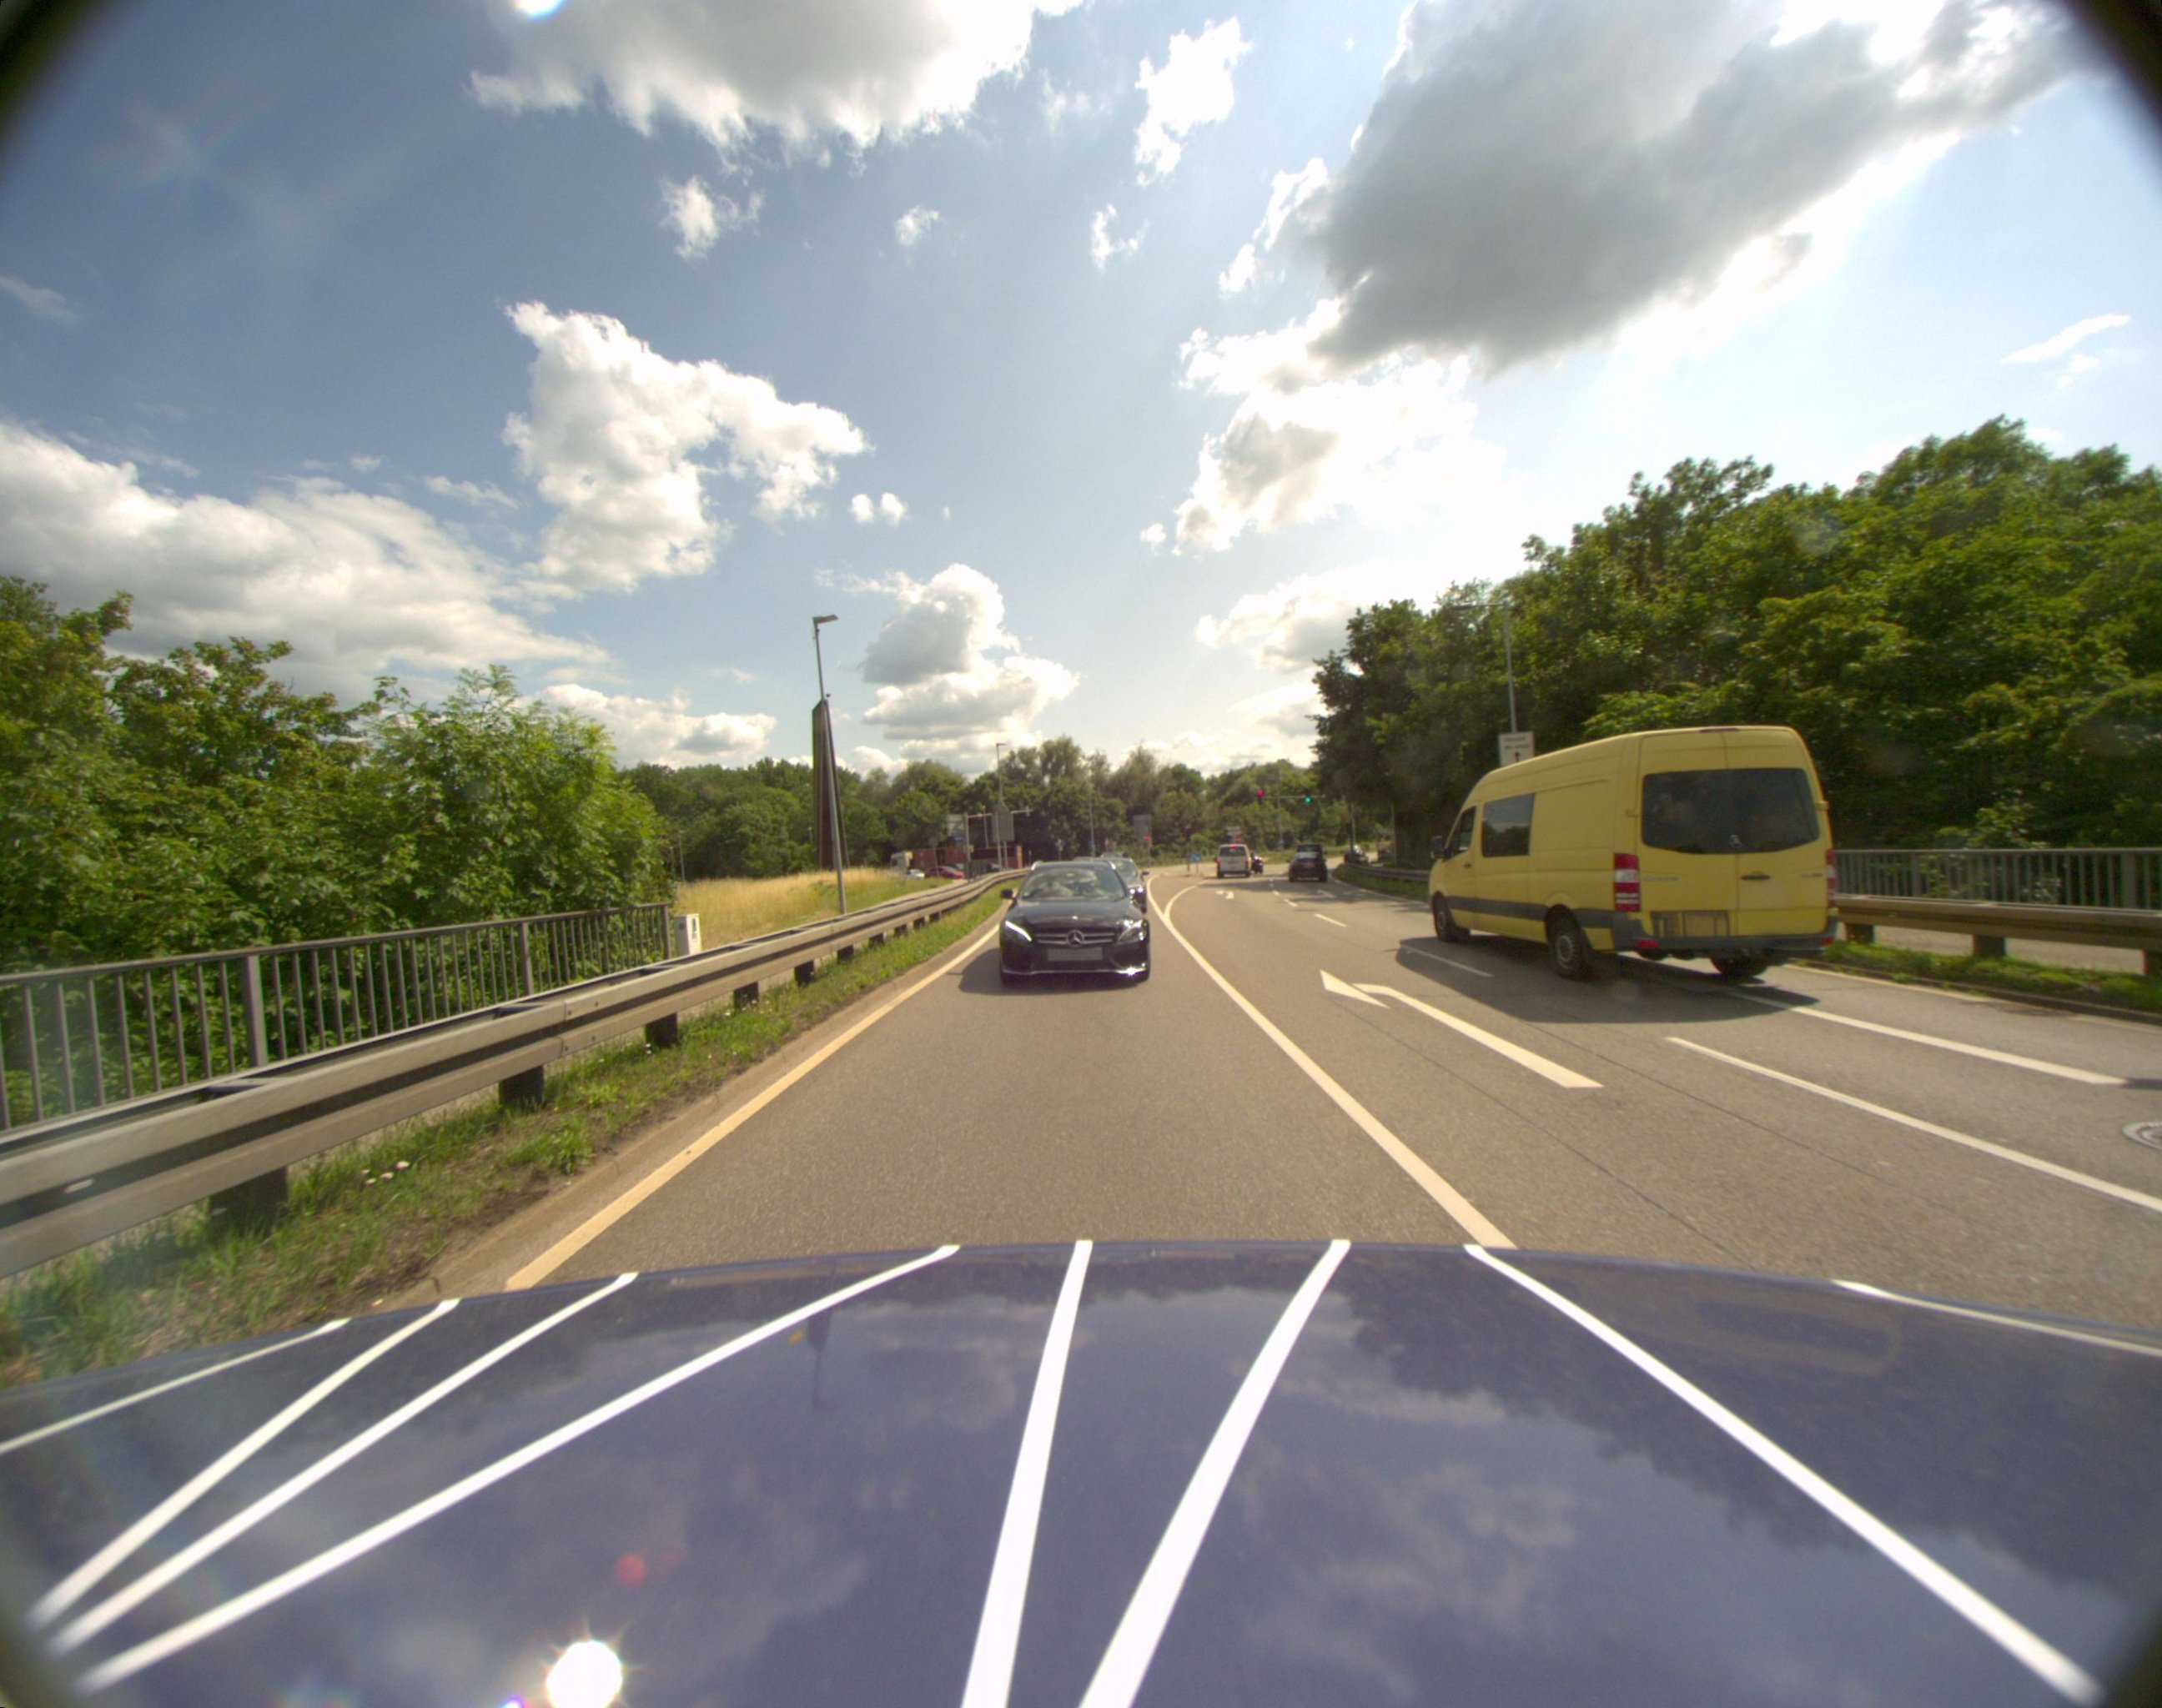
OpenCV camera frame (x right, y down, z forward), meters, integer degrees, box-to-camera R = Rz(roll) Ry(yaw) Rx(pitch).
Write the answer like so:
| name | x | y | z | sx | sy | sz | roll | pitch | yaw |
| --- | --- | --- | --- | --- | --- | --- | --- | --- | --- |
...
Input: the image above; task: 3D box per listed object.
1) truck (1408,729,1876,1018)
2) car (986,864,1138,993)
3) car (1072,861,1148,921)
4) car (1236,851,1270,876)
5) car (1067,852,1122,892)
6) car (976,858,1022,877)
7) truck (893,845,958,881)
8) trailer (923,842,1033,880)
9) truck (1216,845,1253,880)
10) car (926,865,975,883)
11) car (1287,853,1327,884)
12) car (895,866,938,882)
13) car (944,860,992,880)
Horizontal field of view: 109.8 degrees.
| name | x | y | z | sx | sy | sz | roll | pitch | yaw |
| --- | --- | --- | --- | --- | --- | --- | --- | --- | --- |
| truck | 6.447 | 0.198 | 10.028 | 1.998 | 2.605 | 6.106 | -2 | 0 | 5 |
| car | -0.326 | 0.938 | 11.502 | 1.795 | 1.427 | 4.368 | -3 | 0 | -3 |
| car | 0.897 | 0.950 | 21.042 | 1.857 | 1.354 | 4.001 | -1 | 1 | 5 |
| car | 11.681 | 0.617 | 51.902 | 1.701 | 1.548 | 3.823 | -2 | 0 | 5 |
| car | 0.591 | 0.652 | 29.629 | 1.858 | 1.402 | 4.001 | -2 | 0 | 4 |
| car | -8.092 | 1.313 | 74.880 | 4.284 | 1.607 | 1.848 | -4 | 0 | 34 |
| truck | -18.310 | 1.114 | 89.711 | 6.811 | 3.822 | 2.780 | -3 | 0 | 8 |
| trailer | -12.044 | 0.790 | 89.014 | 12.305 | 3.827 | 2.782 | -3 | 0 | 7 |
| truck | 9.222 | 0.475 | 45.418 | 1.963 | 1.902 | 5.375 | -2 | 0 | 13 |
| car | -11.607 | 1.767 | 67.440 | 4.205 | 1.367 | 1.762 | -4 | -1 | 34 |
| car | 11.286 | 0.697 | 38.105 | 1.801 | 1.381 | 4.010 | -1 | 0 | 15 |
| car | -16.397 | 2.033 | 75.500 | 4.205 | 1.367 | 1.649 | -4 | -1 | 34 |
| car | -10.635 | 1.513 | 71.512 | 4.205 | 1.635 | 1.841 | -4 | -1 | 34 |
